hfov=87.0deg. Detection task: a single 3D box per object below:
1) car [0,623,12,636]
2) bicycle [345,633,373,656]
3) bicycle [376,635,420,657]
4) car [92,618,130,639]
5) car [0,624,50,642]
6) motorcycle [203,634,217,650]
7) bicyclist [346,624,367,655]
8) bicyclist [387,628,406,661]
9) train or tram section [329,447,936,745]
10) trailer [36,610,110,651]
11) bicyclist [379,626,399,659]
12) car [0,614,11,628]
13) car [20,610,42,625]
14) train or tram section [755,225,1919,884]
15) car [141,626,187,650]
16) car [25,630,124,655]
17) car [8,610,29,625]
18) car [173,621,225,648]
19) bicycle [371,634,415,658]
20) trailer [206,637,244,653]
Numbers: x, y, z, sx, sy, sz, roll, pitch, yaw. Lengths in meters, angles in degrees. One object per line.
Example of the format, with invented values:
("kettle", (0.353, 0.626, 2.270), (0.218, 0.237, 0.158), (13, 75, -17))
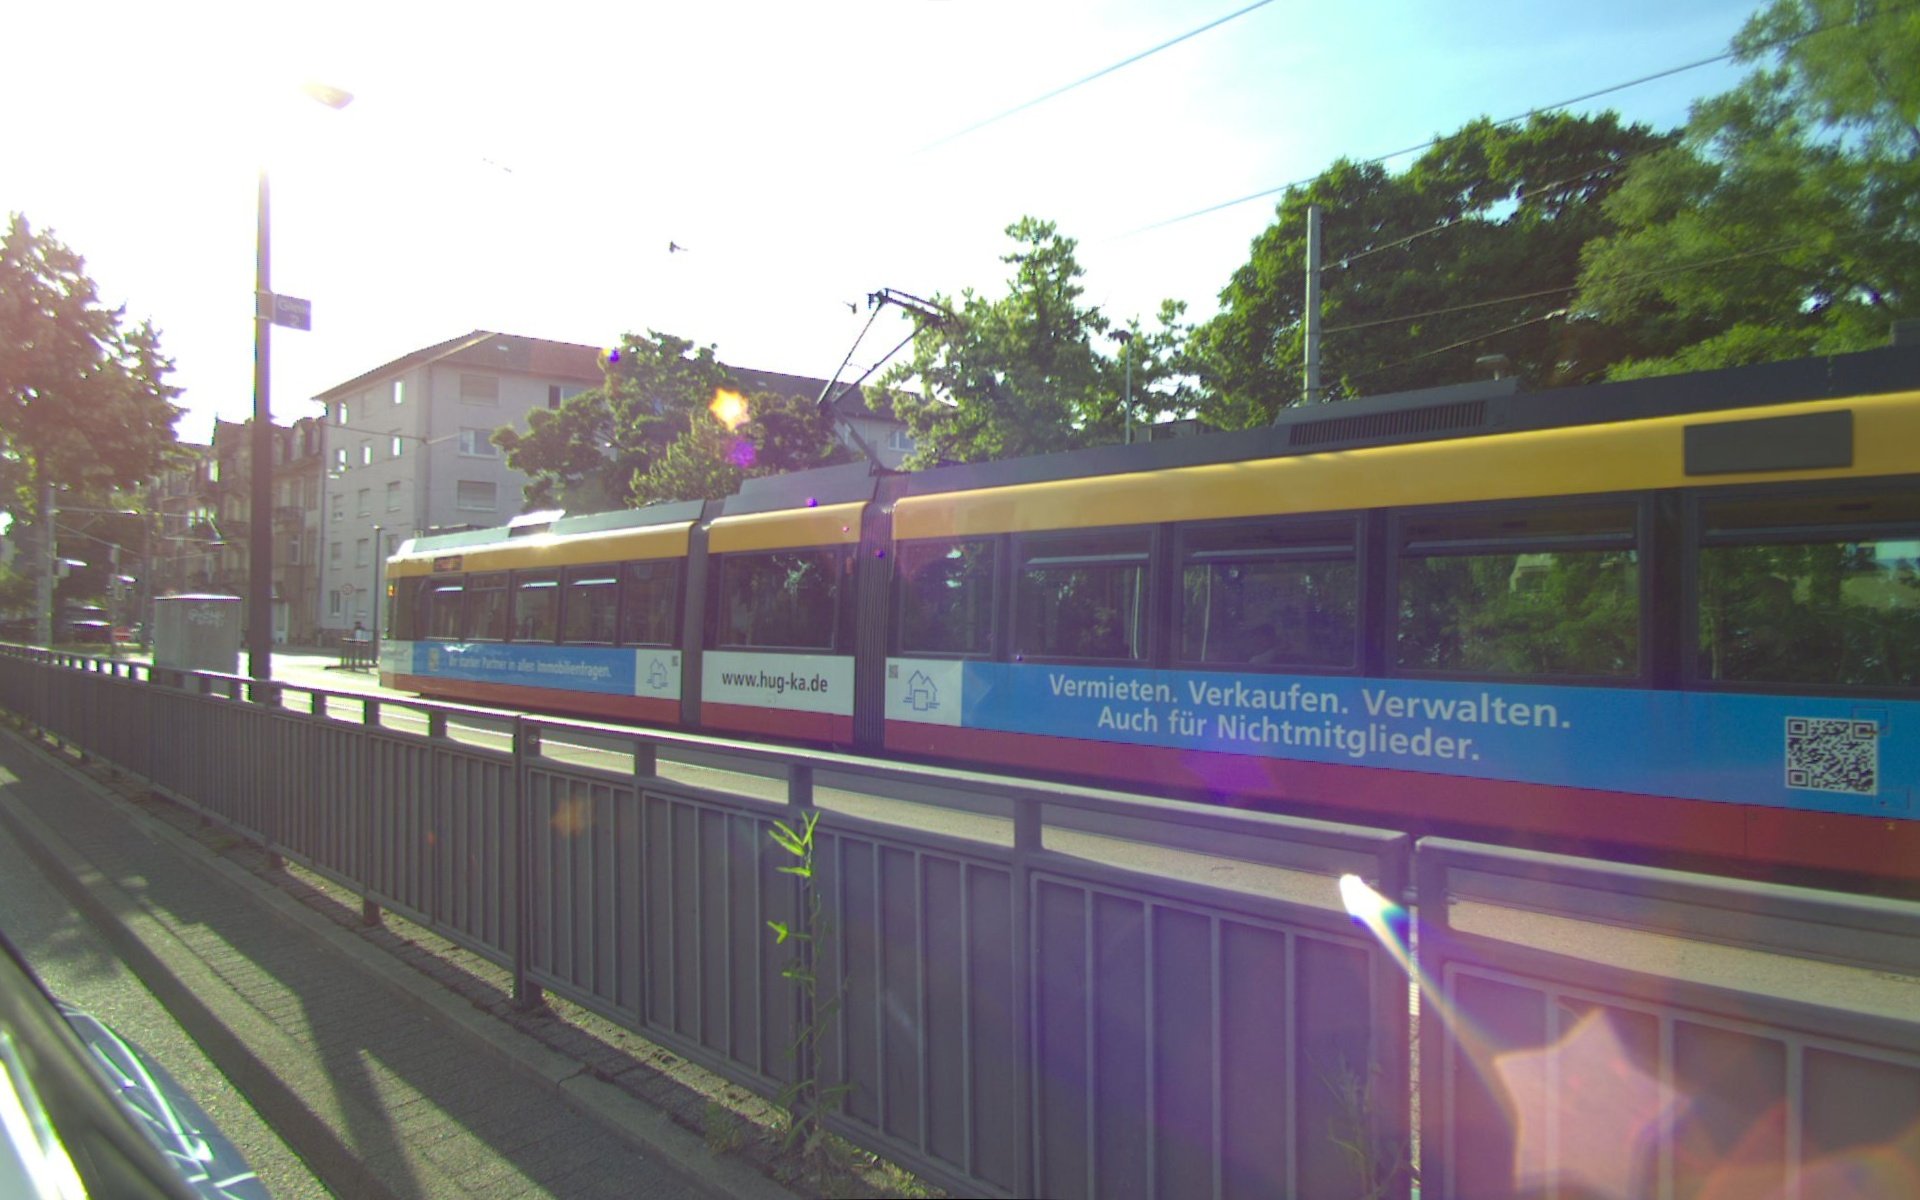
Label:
("car", (-157.774, 4.838, 166.668), (3.998, 2.029, 1.973), (-2, -2, 41))
("bicycle", (-27.372, 2.000, 46.074), (2.251, 1.026, 0.536), (-2, -2, 45))
("bicycle", (-28.307, 2.318, 50.967), (1.883, 1.119, 0.737), (2, -2, -28))
("car", (-76.720, 2.582, 91.470), (4.611, 1.915, 2.141), (-2, -2, 44))
("car", (-76.499, 2.626, 81.589), (4.205, 1.433, 2.175), (0, -2, -7))
("motorcycle", (-49.290, 2.751, 66.511), (0.627, 1.088, 1.736), (1, -2, -40))
("bicyclist", (-27.559, 1.788, 46.185), (0.717, 1.424, 0.643), (-2, -2, 44))
("bicyclist", (-28.337, 2.250, 50.906), (0.760, 1.655, 0.797), (2, -3, -28))
("train or tram section", (-6.833, 0.124, 17.844), (14.524, 3.506, 3.129), (-2, -2, 41))
("trailer", (-52.718, 1.796, 60.202), (2.817, 2.410, 1.728), (0, -2, -17))
("bicyclist", (-29.326, 2.180, 51.982), (0.839, 1.655, 0.816), (1, -2, -28))
("car", (-142.537, 3.116, 150.186), (3.998, 2.029, 1.973), (-2, -2, 41))
("car", (-124.135, 2.378, 135.179), (1.971, 2.029, 4.002), (1, -2, -45))
("train or tram section", (4.061, -0.168, 8.352), (14.463, 3.506, 3.129), (-2, -2, 41))
("car", (-60.985, 2.901, 77.464), (4.611, 1.763, 2.141), (-2, -2, 44))
("car", (-50.356, 2.424, 57.605), (3.888, 1.370, 1.677), (1, -2, -12))
("car", (-132.623, 2.531, 142.539), (1.971, 2.029, 4.002), (1, -2, -45))
("car", (-52.159, 2.348, 69.332), (4.719, 1.763, 2.141), (-2, -2, 44))
("bicycle", (-29.181, 2.341, 52.112), (1.946, 1.212, 0.737), (1, -2, -28))
("trailer", (-47.311, 2.862, 65.146), (2.879, 0.903, 1.425), (-2, 1, 43))
